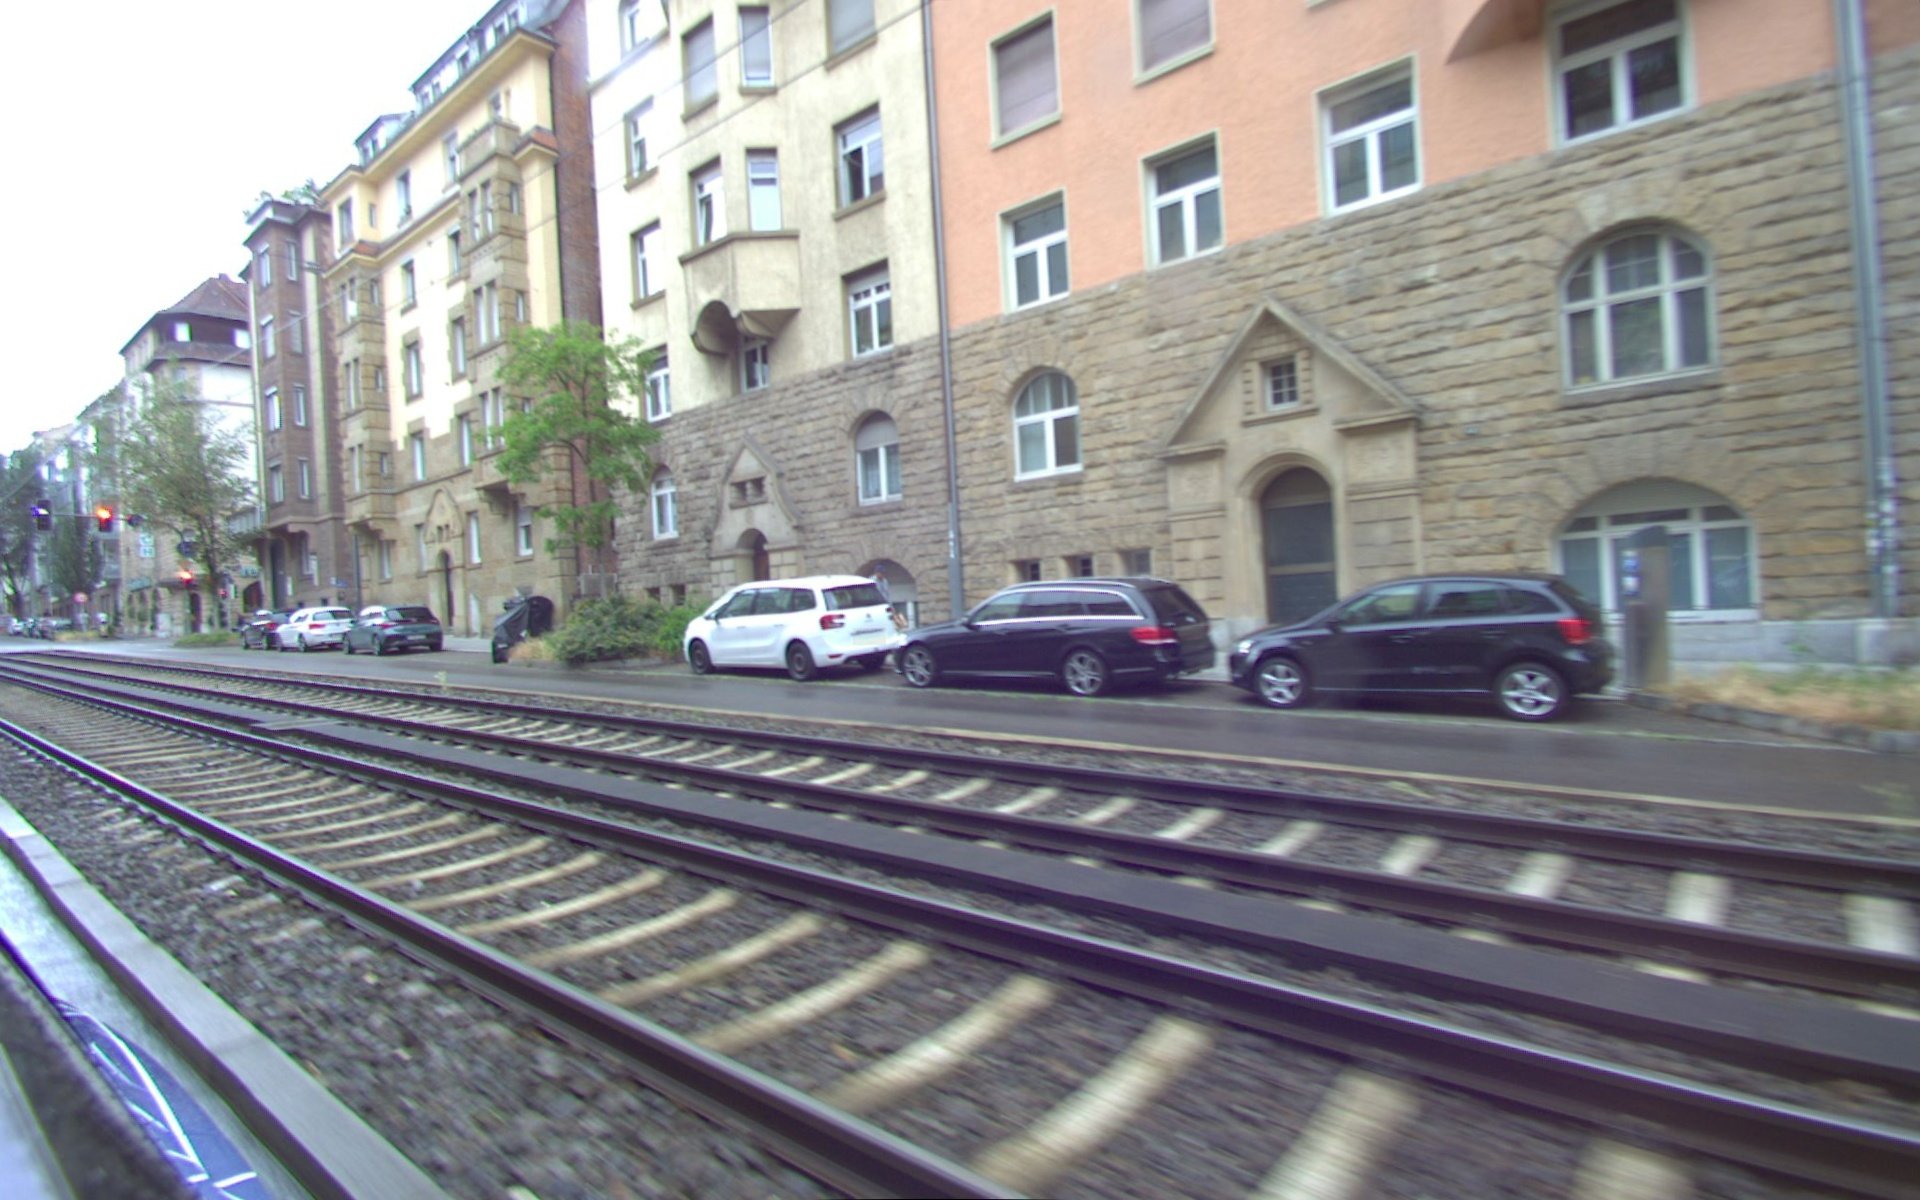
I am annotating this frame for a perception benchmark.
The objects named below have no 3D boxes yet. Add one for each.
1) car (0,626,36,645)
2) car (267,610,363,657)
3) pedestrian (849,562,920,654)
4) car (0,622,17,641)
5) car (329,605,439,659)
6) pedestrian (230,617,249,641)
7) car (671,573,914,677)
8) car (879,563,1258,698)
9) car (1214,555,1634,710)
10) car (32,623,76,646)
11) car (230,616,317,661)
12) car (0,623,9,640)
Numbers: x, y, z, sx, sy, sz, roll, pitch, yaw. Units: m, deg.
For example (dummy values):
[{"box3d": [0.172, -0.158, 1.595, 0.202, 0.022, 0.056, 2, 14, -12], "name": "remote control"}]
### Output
[{"box3d": [-74.306, 2.784, 79.781, 4.128, 1.345, 1.685, -1, 3, 41], "name": "car"}, {"box3d": [-21.776, 1.103, 34.112, 4.262, 1.436, 1.649, -1, 0, 42], "name": "car"}, {"box3d": [-1.477, 0.151, 19.956, 0.921, 1.766, 1.000, -2, 1, 31], "name": "pedestrian"}, {"box3d": [-82.775, 2.699, 87.173, 4.155, 1.581, 1.758, -1, 0, 40], "name": "car"}, {"box3d": [-17.247, 0.932, 30.229, 4.144, 1.448, 1.545, -1, 2, 41], "name": "car"}, {"box3d": [-44.302, 1.774, 62.233, 0.721, 1.426, 0.808, -2, 1, 44], "name": "pedestrian"}, {"box3d": [-3.014, 0.425, 17.702, 4.347, 1.601, 1.767, -2, 0, 40], "name": "car"}, {"box3d": [1.366, 0.390, 14.155, 4.970, 1.520, 1.974, -2, 2, 40], "name": "car"}, {"box3d": [4.947, 0.321, 11.049, 3.879, 1.408, 1.626, -2, 1, 38], "name": "car"}, {"box3d": [-63.456, 2.394, 70.871, 3.522, 1.509, 1.789, -2, 1, 40], "name": "car"}, {"box3d": [-25.568, 1.391, 37.667, 3.999, 1.497, 1.746, -1, 1, 42], "name": "car"}, {"box3d": [-88.247, 2.898, 92.116, 4.465, 1.451, 1.887, -1, 0, 40], "name": "car"}]
